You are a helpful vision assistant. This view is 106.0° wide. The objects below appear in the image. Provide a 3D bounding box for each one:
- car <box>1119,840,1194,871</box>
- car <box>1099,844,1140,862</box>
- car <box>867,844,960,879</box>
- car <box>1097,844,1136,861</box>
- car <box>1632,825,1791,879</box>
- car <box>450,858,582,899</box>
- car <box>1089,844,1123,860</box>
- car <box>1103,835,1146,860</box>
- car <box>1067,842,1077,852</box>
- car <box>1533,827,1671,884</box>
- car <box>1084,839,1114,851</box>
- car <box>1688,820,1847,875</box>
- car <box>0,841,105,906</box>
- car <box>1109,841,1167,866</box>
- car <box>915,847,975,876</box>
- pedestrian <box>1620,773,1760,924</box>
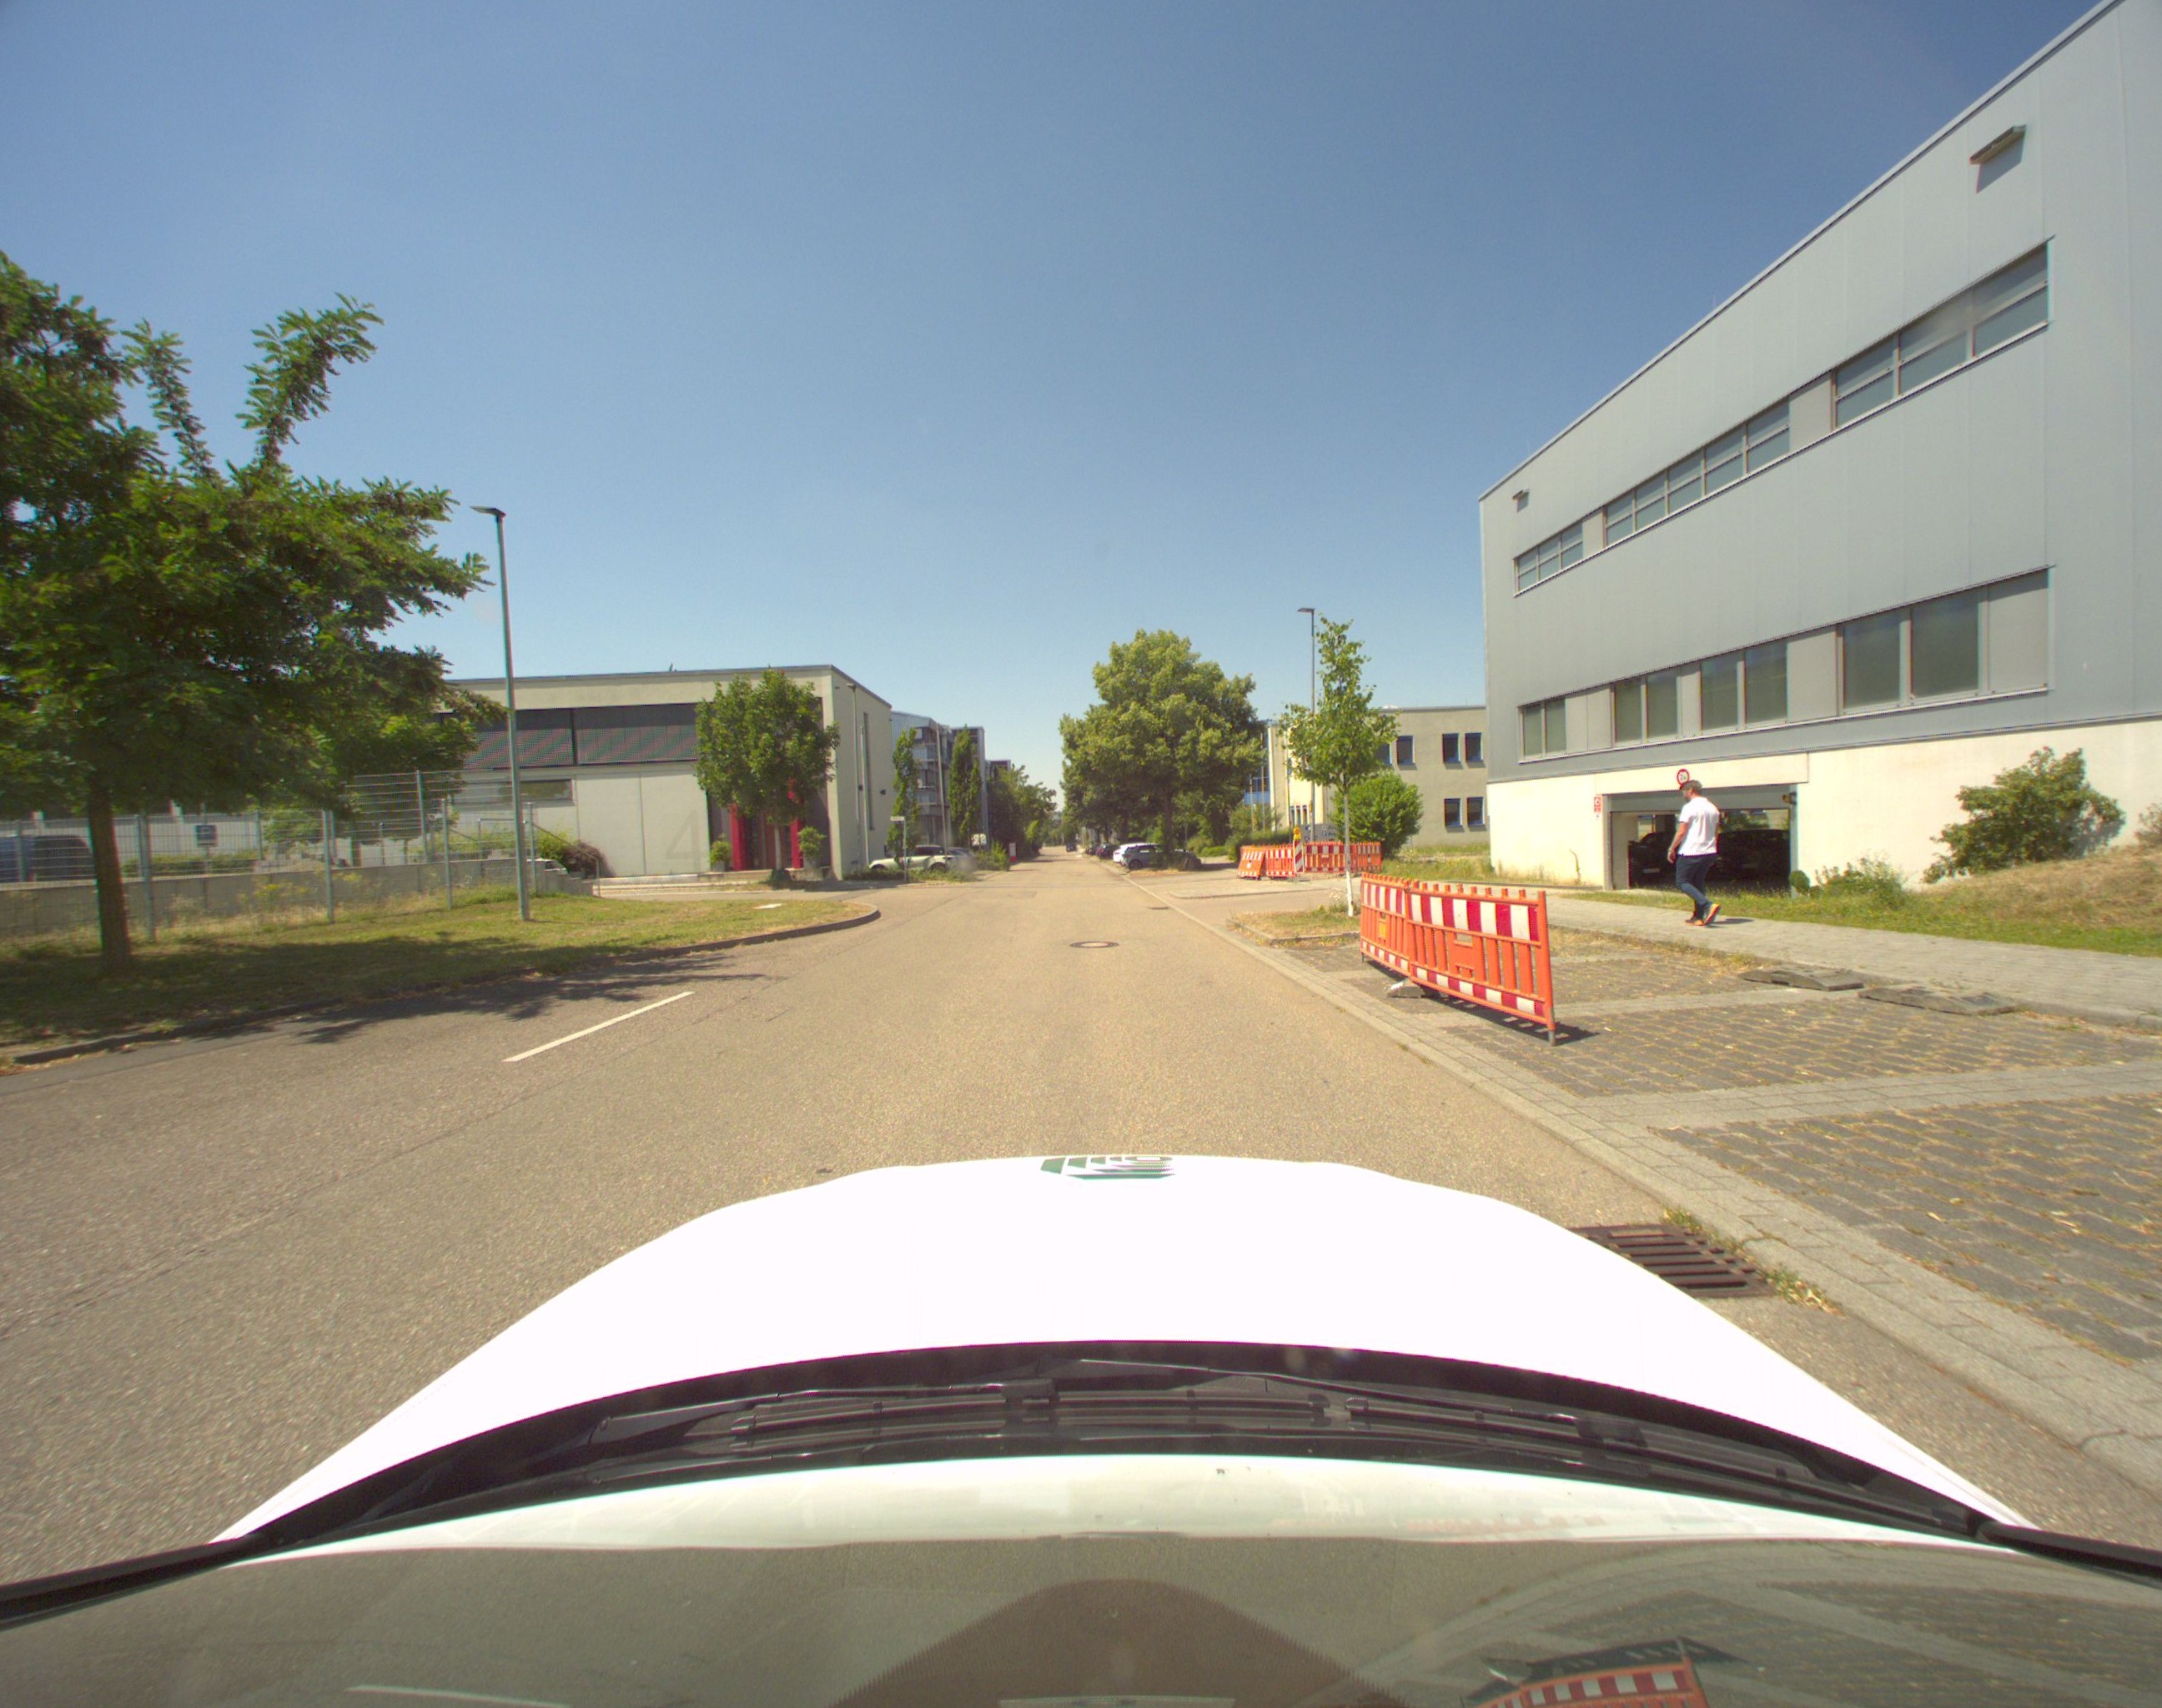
[{"bbox_3d":[4.029,0.059,43.648,3.674,1.354,1.642,-4,0,-6],"label":"car"},{"bbox_3d":[3.592,-0.084,75.830,3.712,1.626,1.813,-1,0,-2],"label":"car"},{"bbox_3d":[-7.798,0.337,38.172,4.038,1.495,1.726,-1,0,-4],"label":"car"},{"bbox_3d":[3.478,-0.179,80.959,3.712,1.626,1.813,-1,0,-2],"label":"car"},{"bbox_3d":[19.075,-0.064,24.894,1.875,1.477,4.002,-1,0,2],"label":"car"},{"bbox_3d":[-22.348,0.966,32.305,3.988,1.408,1.657,-1,4,-1],"label":"car"},{"bbox_3d":[3.145,-0.264,102.699,3.930,1.834,1.762,-1,4,-9],"label":"car"},{"bbox_3d":[3.832,-0.584,72.476,3.712,2.110,1.813,-1,0,-2],"label":"car"},{"bbox_3d":[-1.681,-1.365,154.429,1.755,1.755,3.944,-1,0,0],"label":"car"},{"bbox_3d":[16.020,-0.023,25.308,1.819,1.452,4.003,-2,4,2],"label":"car"},{"bbox_3d":[2.525,-1.287,115.179,3.930,1.577,1.762,-1,4,-9],"label":"car"},{"bbox_3d":[21.964,-0.264,26.292,1.875,1.452,4.003,-2,4,2],"label":"car"},{"bbox_3d":[-41.258,0.721,31.067,5.226,2.272,2.133,-1,4,-1],"label":"car"},{"bbox_3d":[3.735,-0.045,53.310,3.512,1.354,1.535,-4,0,-6],"label":"car"},{"bbox_3d":[-7.128,0.391,42.934,3.056,1.478,1.289,-1,0,-8],"label":"car"},{"bbox_3d":[8.104,-0.094,10.886,0.865,1.889,1.208,-2,1,-17],"label":"pedestrian"}]
